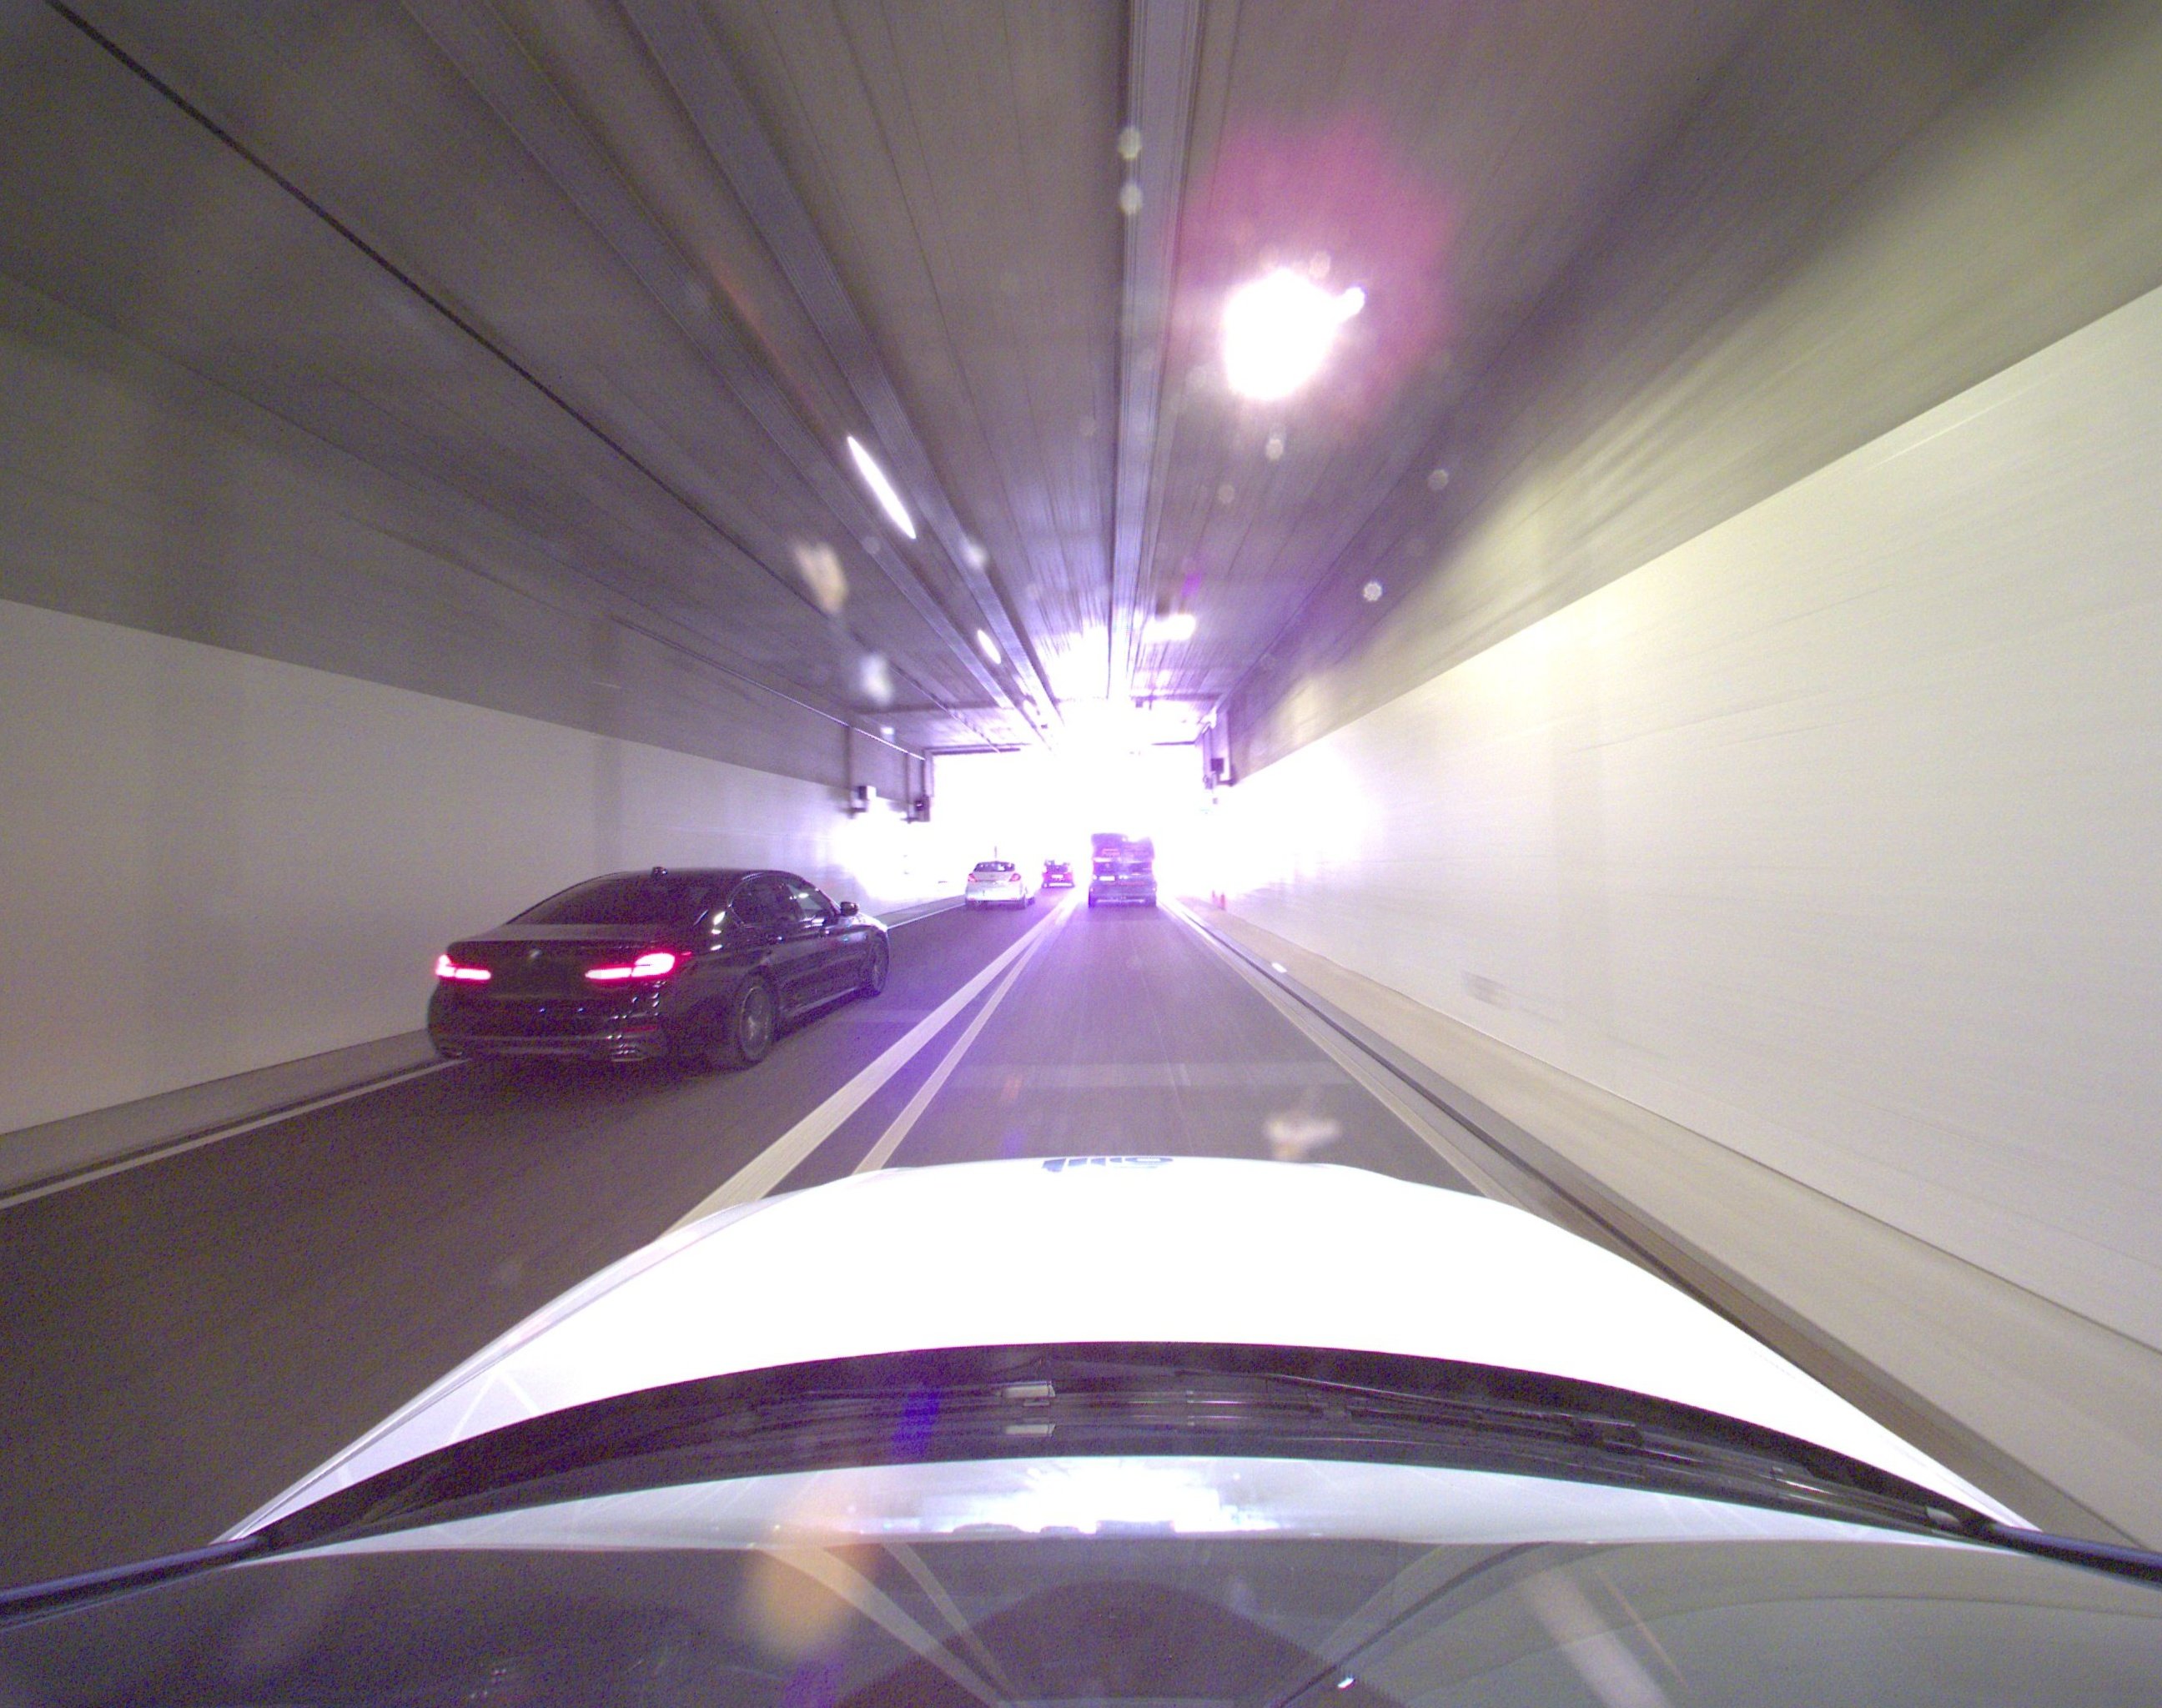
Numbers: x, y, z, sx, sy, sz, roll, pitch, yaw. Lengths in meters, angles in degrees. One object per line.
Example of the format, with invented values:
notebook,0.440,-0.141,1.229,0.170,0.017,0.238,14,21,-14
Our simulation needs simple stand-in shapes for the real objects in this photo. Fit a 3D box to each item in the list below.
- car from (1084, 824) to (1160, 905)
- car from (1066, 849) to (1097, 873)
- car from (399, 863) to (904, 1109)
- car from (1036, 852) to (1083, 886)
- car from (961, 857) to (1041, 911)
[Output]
car,1.277,0.282,25.429,2.150,2.266,4.640,-1,0,3
car,0.089,0.505,54.588,1.869,1.582,4.222,0,-1,2
car,-3.114,0.821,7.298,1.688,1.422,4.856,-1,0,4
car,-0.979,0.663,38.871,1.806,1.512,4.226,0,0,4
car,-2.285,0.814,24.155,1.701,1.413,3.978,-1,0,4
